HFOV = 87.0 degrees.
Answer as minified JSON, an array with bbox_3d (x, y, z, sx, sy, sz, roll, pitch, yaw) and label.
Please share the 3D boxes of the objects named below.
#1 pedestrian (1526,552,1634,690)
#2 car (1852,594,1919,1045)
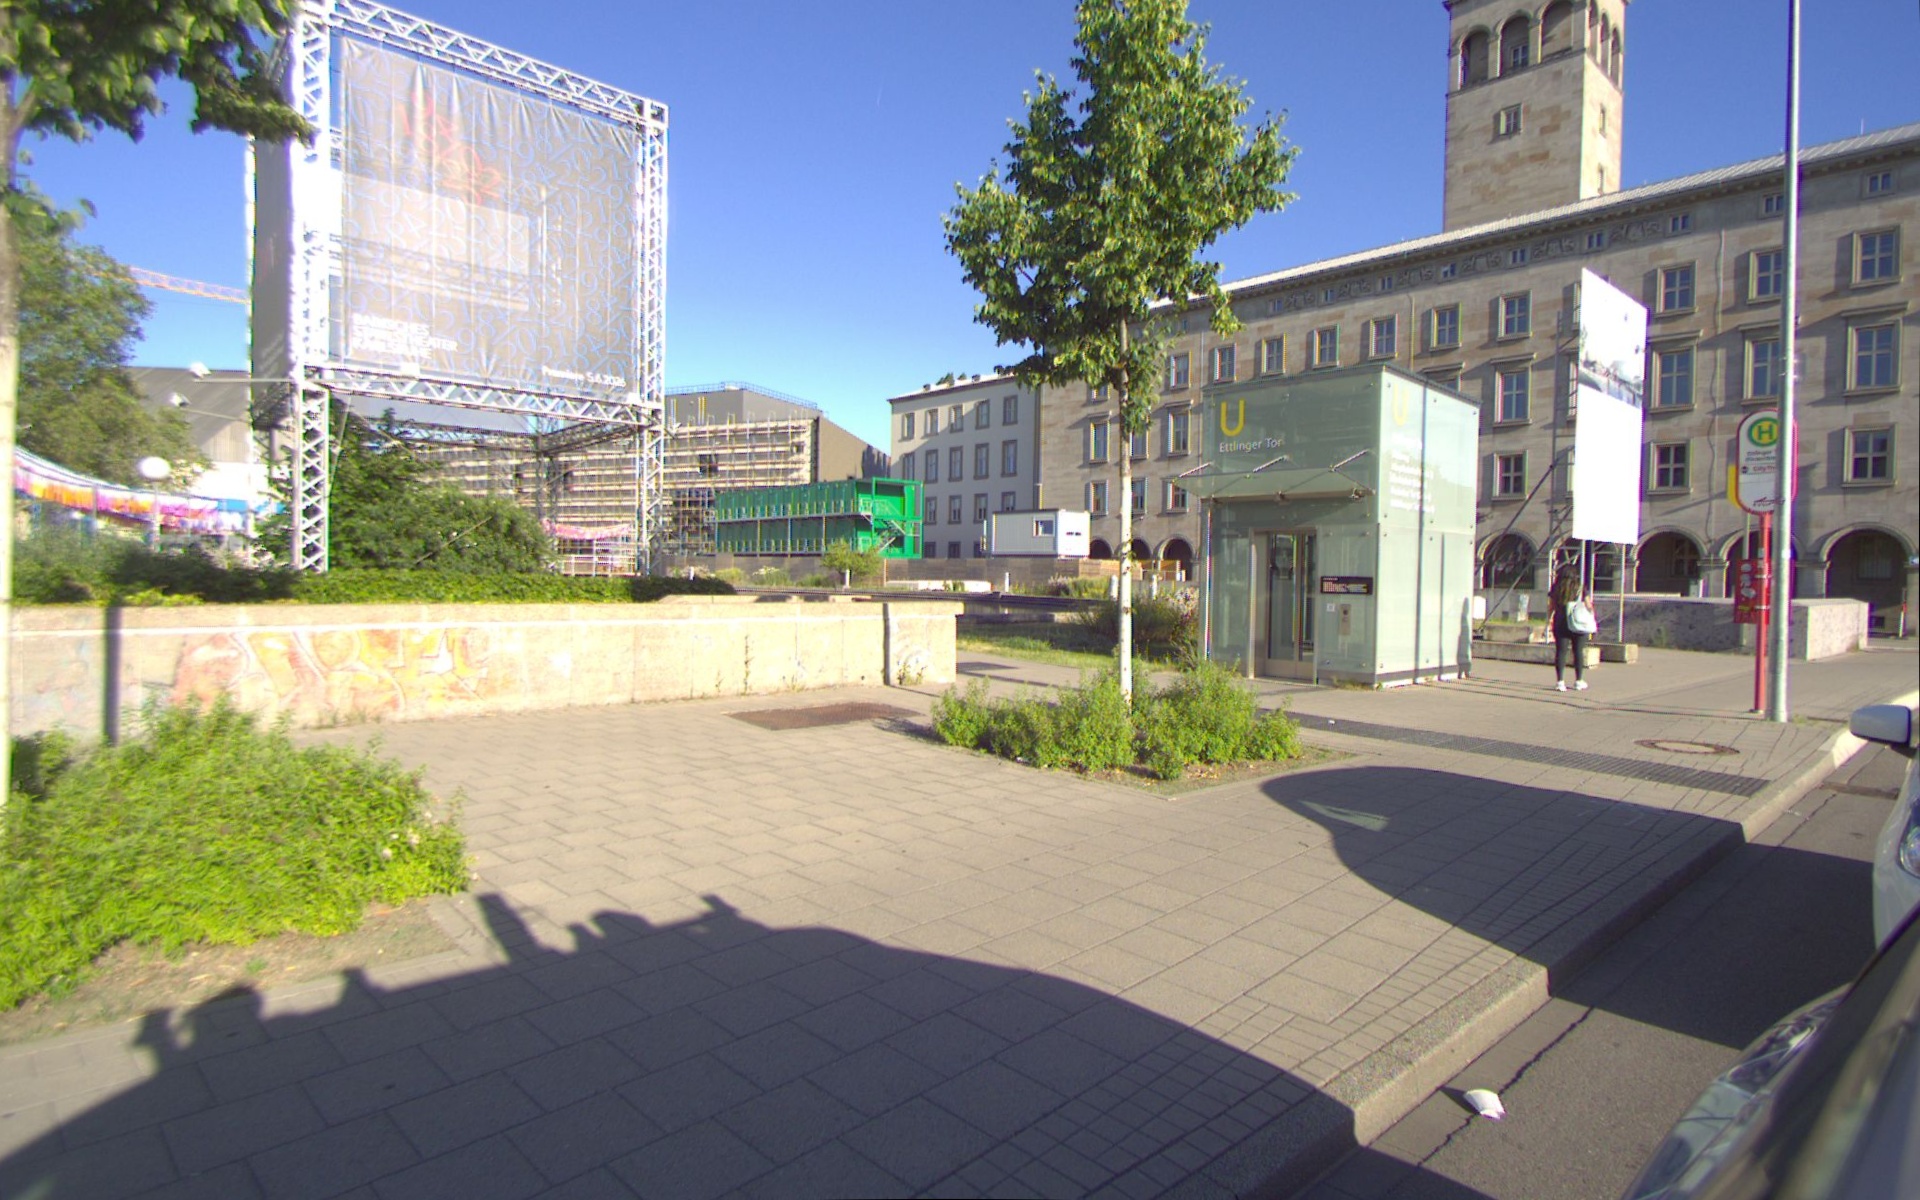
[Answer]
[{"bbox_3d":[8.590,0.258,14.026,1.053,1.809,0.942,0,2,-41],"label":"pedestrian"},{"bbox_3d":[5.013,0.714,4.001,3.820,1.467,1.678,0,0,-40],"label":"car"}]
